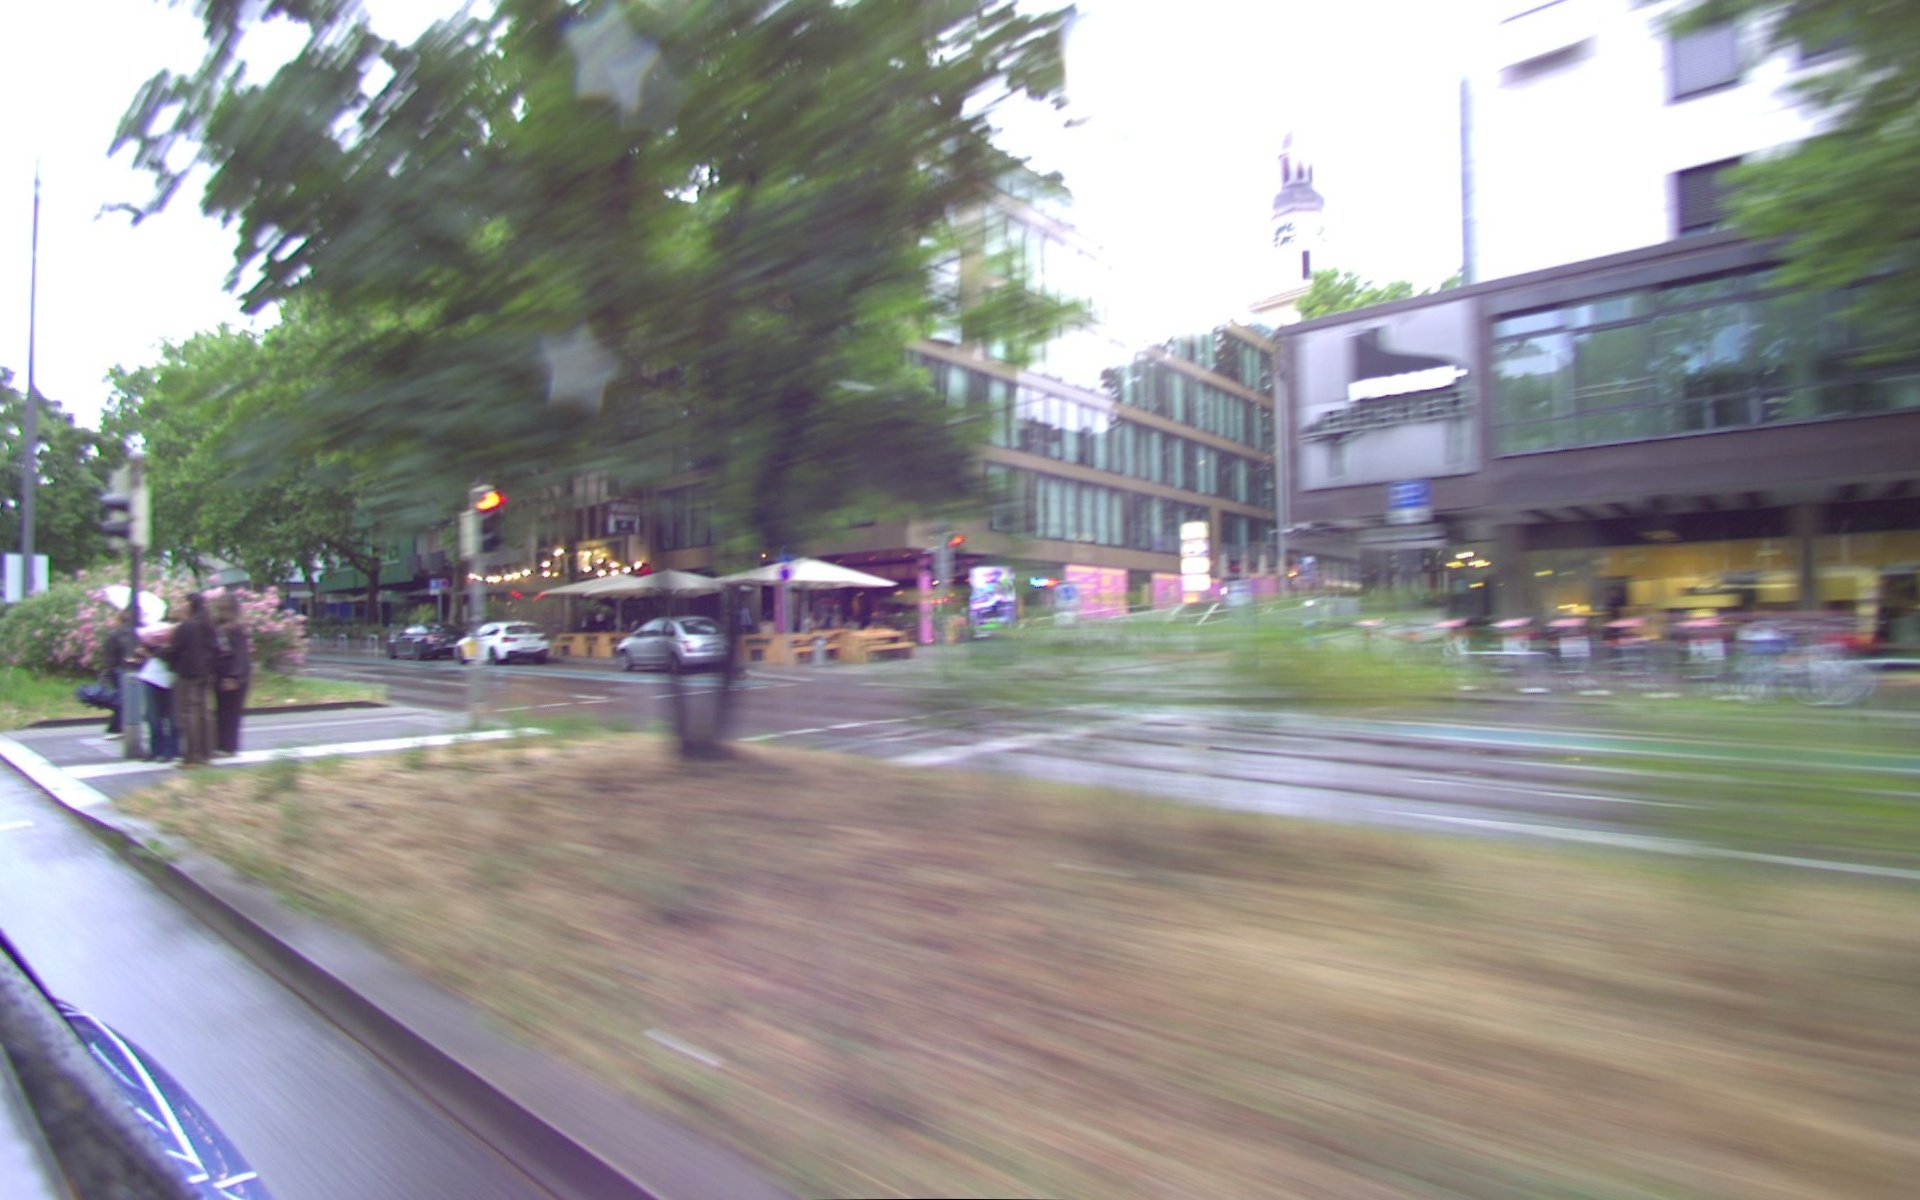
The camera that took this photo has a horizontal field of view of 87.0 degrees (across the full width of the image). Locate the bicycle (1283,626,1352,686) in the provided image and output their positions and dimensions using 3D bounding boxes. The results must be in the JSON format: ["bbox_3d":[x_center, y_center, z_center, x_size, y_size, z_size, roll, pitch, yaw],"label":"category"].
[{"bbox_3d":[6.319,0.968,17.823,0.565,0.986,1.826,-2,-2,38],"label":"bicycle"}]

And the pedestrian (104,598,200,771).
[{"bbox_3d":[-8.041,0.812,10.079,0.443,1.655,0.624,-1,-1,27],"label":"pedestrian"}]

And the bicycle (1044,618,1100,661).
[{"bbox_3d":[3.456,1.183,31.045,0.688,1.256,2.366,-2,-1,34],"label":"bicycle"}]

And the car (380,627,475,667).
[{"bbox_3d":[-20.569,1.775,39.038,4.482,1.405,1.806,-2,-1,42],"label":"car"}]

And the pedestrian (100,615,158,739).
[{"bbox_3d":[-10.361,0.944,12.632,0.475,1.500,0.546,0,-1,-30],"label":"pedestrian"}]

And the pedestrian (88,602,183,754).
[{"bbox_3d":[-9.298,0.855,11.423,0.600,1.654,0.609,-1,-1,19],"label":"pedestrian"}]

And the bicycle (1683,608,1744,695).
[{"bbox_3d":[10.560,0.694,14.217,0.564,1.145,1.829,-2,-2,34],"label":"bicycle"}]

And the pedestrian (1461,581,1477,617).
[{"bbox_3d":[29.472,-0.068,58.585,0.664,2.029,0.746,-1,0,43],"label":"pedestrian"}]

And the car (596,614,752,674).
[{"bbox_3d":[-7.958,1.193,27.989,4.514,1.521,1.973,-2,-2,40],"label":"car"}]

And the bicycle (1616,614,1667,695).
[{"bbox_3d":[9.928,0.762,14.756,0.564,1.106,1.806,-2,-2,34],"label":"bicycle"}]

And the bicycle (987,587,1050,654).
[{"bbox_3d":[1.872,0.625,31.966,0.689,2.029,2.362,-2,0,39],"label":"bicycle"}]

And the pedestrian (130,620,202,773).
[{"bbox_3d":[-7.799,0.929,9.949,0.383,1.461,0.421,-1,-1,23],"label":"pedestrian"}]

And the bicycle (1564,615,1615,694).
[{"bbox_3d":[9.383,0.781,15.072,0.564,1.099,1.656,-2,-2,34],"label":"bicycle"}]

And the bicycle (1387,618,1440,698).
[{"bbox_3d":[7.492,0.921,16.683,0.508,1.250,1.604,-2,-2,34],"label":"bicycle"}]

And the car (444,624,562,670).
[{"bbox_3d":[-15.717,1.598,34.701,4.538,1.380,1.973,-2,0,42],"label":"car"}]

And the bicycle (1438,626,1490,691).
[{"bbox_3d":[8.136,0.925,16.302,0.564,0.986,1.451,-2,-2,33],"label":"bicycle"}]

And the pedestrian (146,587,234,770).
[{"bbox_3d":[-7.494,0.744,9.854,0.402,1.711,0.569,-1,-1,29],"label":"pedestrian"}]

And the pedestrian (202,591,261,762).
[{"bbox_3d":[-7.574,0.783,10.527,0.324,1.733,0.396,-1,-2,27],"label":"pedestrian"}]

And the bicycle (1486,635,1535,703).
[{"bbox_3d":[8.594,1.051,15.769,0.508,0.970,1.604,-2,-2,34],"label":"bicycle"}]

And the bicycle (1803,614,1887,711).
[{"bbox_3d":[11.248,0.765,12.910,0.564,1.158,1.828,-2,-2,35],"label":"bicycle"}]

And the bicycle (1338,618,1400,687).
[{"bbox_3d":[6.982,0.862,17.244,0.613,1.106,1.829,-2,-2,33],"label":"bicycle"}]

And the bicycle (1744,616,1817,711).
[{"bbox_3d":[10.619,0.787,13.142,0.564,1.145,1.828,-2,-2,35],"label":"bicycle"}]
